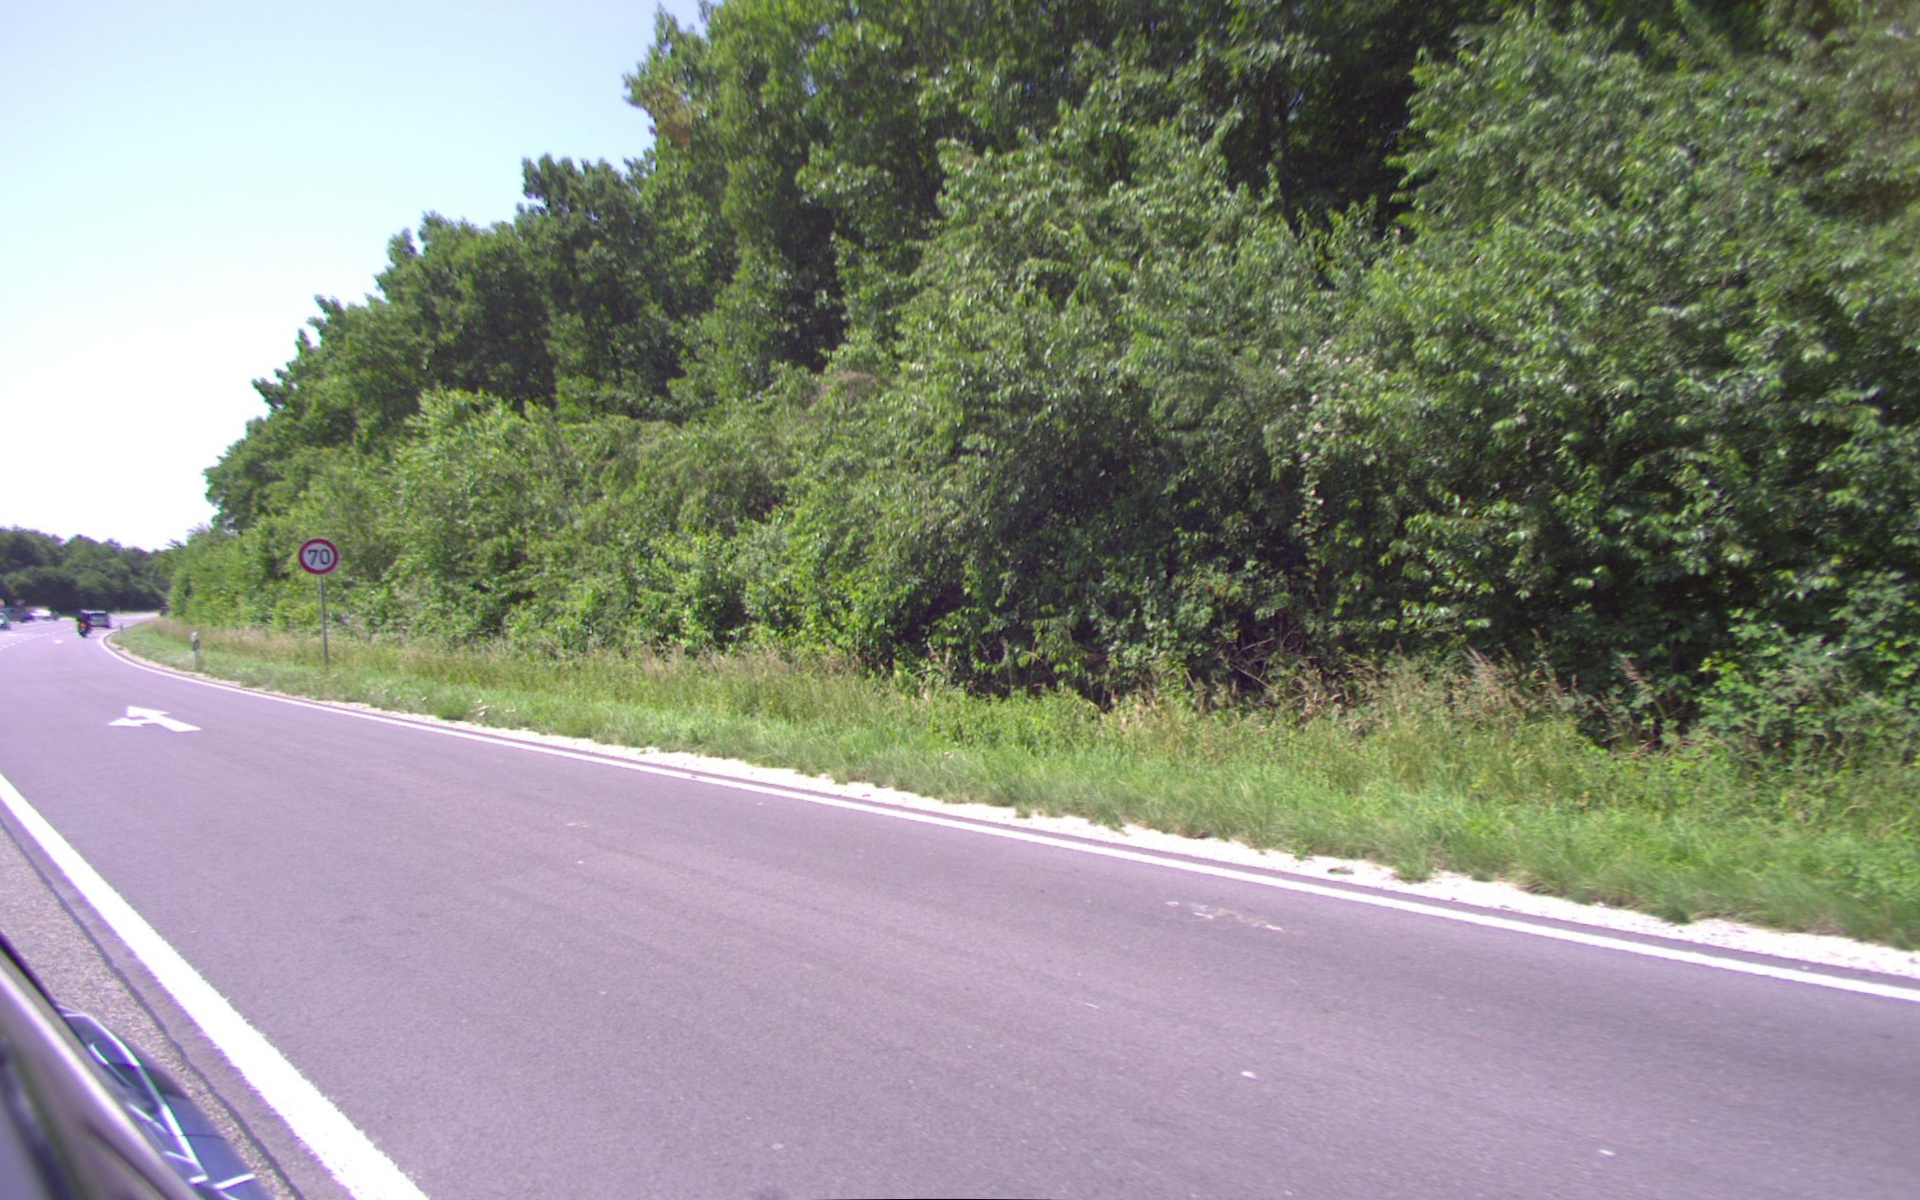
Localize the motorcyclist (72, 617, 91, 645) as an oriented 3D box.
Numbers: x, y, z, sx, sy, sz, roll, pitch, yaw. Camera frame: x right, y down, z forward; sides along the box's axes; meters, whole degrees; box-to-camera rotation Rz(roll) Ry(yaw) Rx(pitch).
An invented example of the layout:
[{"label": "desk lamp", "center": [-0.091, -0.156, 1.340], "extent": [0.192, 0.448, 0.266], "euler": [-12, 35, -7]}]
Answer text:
[{"label": "motorcyclist", "center": [-56.564, 2.011, 65.146], "extent": [0.623, 1.765, 0.822], "euler": [-1, 0, 41]}]

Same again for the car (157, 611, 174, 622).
[{"label": "car", "center": [-120.000, 2.438, 152.878], "extent": [1.778, 1.649, 4.223], "euler": [-1, 0, -34]}]

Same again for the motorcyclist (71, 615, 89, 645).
[{"label": "motorcyclist", "center": [-57.063, 1.954, 65.607], "extent": [0.657, 1.896, 0.811], "euler": [-1, 0, 41]}]

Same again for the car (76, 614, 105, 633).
[{"label": "car", "center": [-81.835, 2.183, 95.252], "extent": [1.781, 1.649, 4.214], "euler": [-1, 0, -45]}]

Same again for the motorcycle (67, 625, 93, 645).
[{"label": "motorcycle", "center": [-57.129, 2.282, 65.675], "extent": [2.681, 1.260, 0.936], "euler": [-1, 0, 42]}]

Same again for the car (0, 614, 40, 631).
[{"label": "car", "center": [-117.941, 2.807, 125.619], "extent": [2.011, 1.921, 5.164], "euler": [0, 2, 38]}]

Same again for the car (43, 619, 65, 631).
[{"label": "car", "center": [-119.902, 3.285, 133.902], "extent": [1.686, 1.430, 4.108], "euler": [-1, 1, -35]}]
